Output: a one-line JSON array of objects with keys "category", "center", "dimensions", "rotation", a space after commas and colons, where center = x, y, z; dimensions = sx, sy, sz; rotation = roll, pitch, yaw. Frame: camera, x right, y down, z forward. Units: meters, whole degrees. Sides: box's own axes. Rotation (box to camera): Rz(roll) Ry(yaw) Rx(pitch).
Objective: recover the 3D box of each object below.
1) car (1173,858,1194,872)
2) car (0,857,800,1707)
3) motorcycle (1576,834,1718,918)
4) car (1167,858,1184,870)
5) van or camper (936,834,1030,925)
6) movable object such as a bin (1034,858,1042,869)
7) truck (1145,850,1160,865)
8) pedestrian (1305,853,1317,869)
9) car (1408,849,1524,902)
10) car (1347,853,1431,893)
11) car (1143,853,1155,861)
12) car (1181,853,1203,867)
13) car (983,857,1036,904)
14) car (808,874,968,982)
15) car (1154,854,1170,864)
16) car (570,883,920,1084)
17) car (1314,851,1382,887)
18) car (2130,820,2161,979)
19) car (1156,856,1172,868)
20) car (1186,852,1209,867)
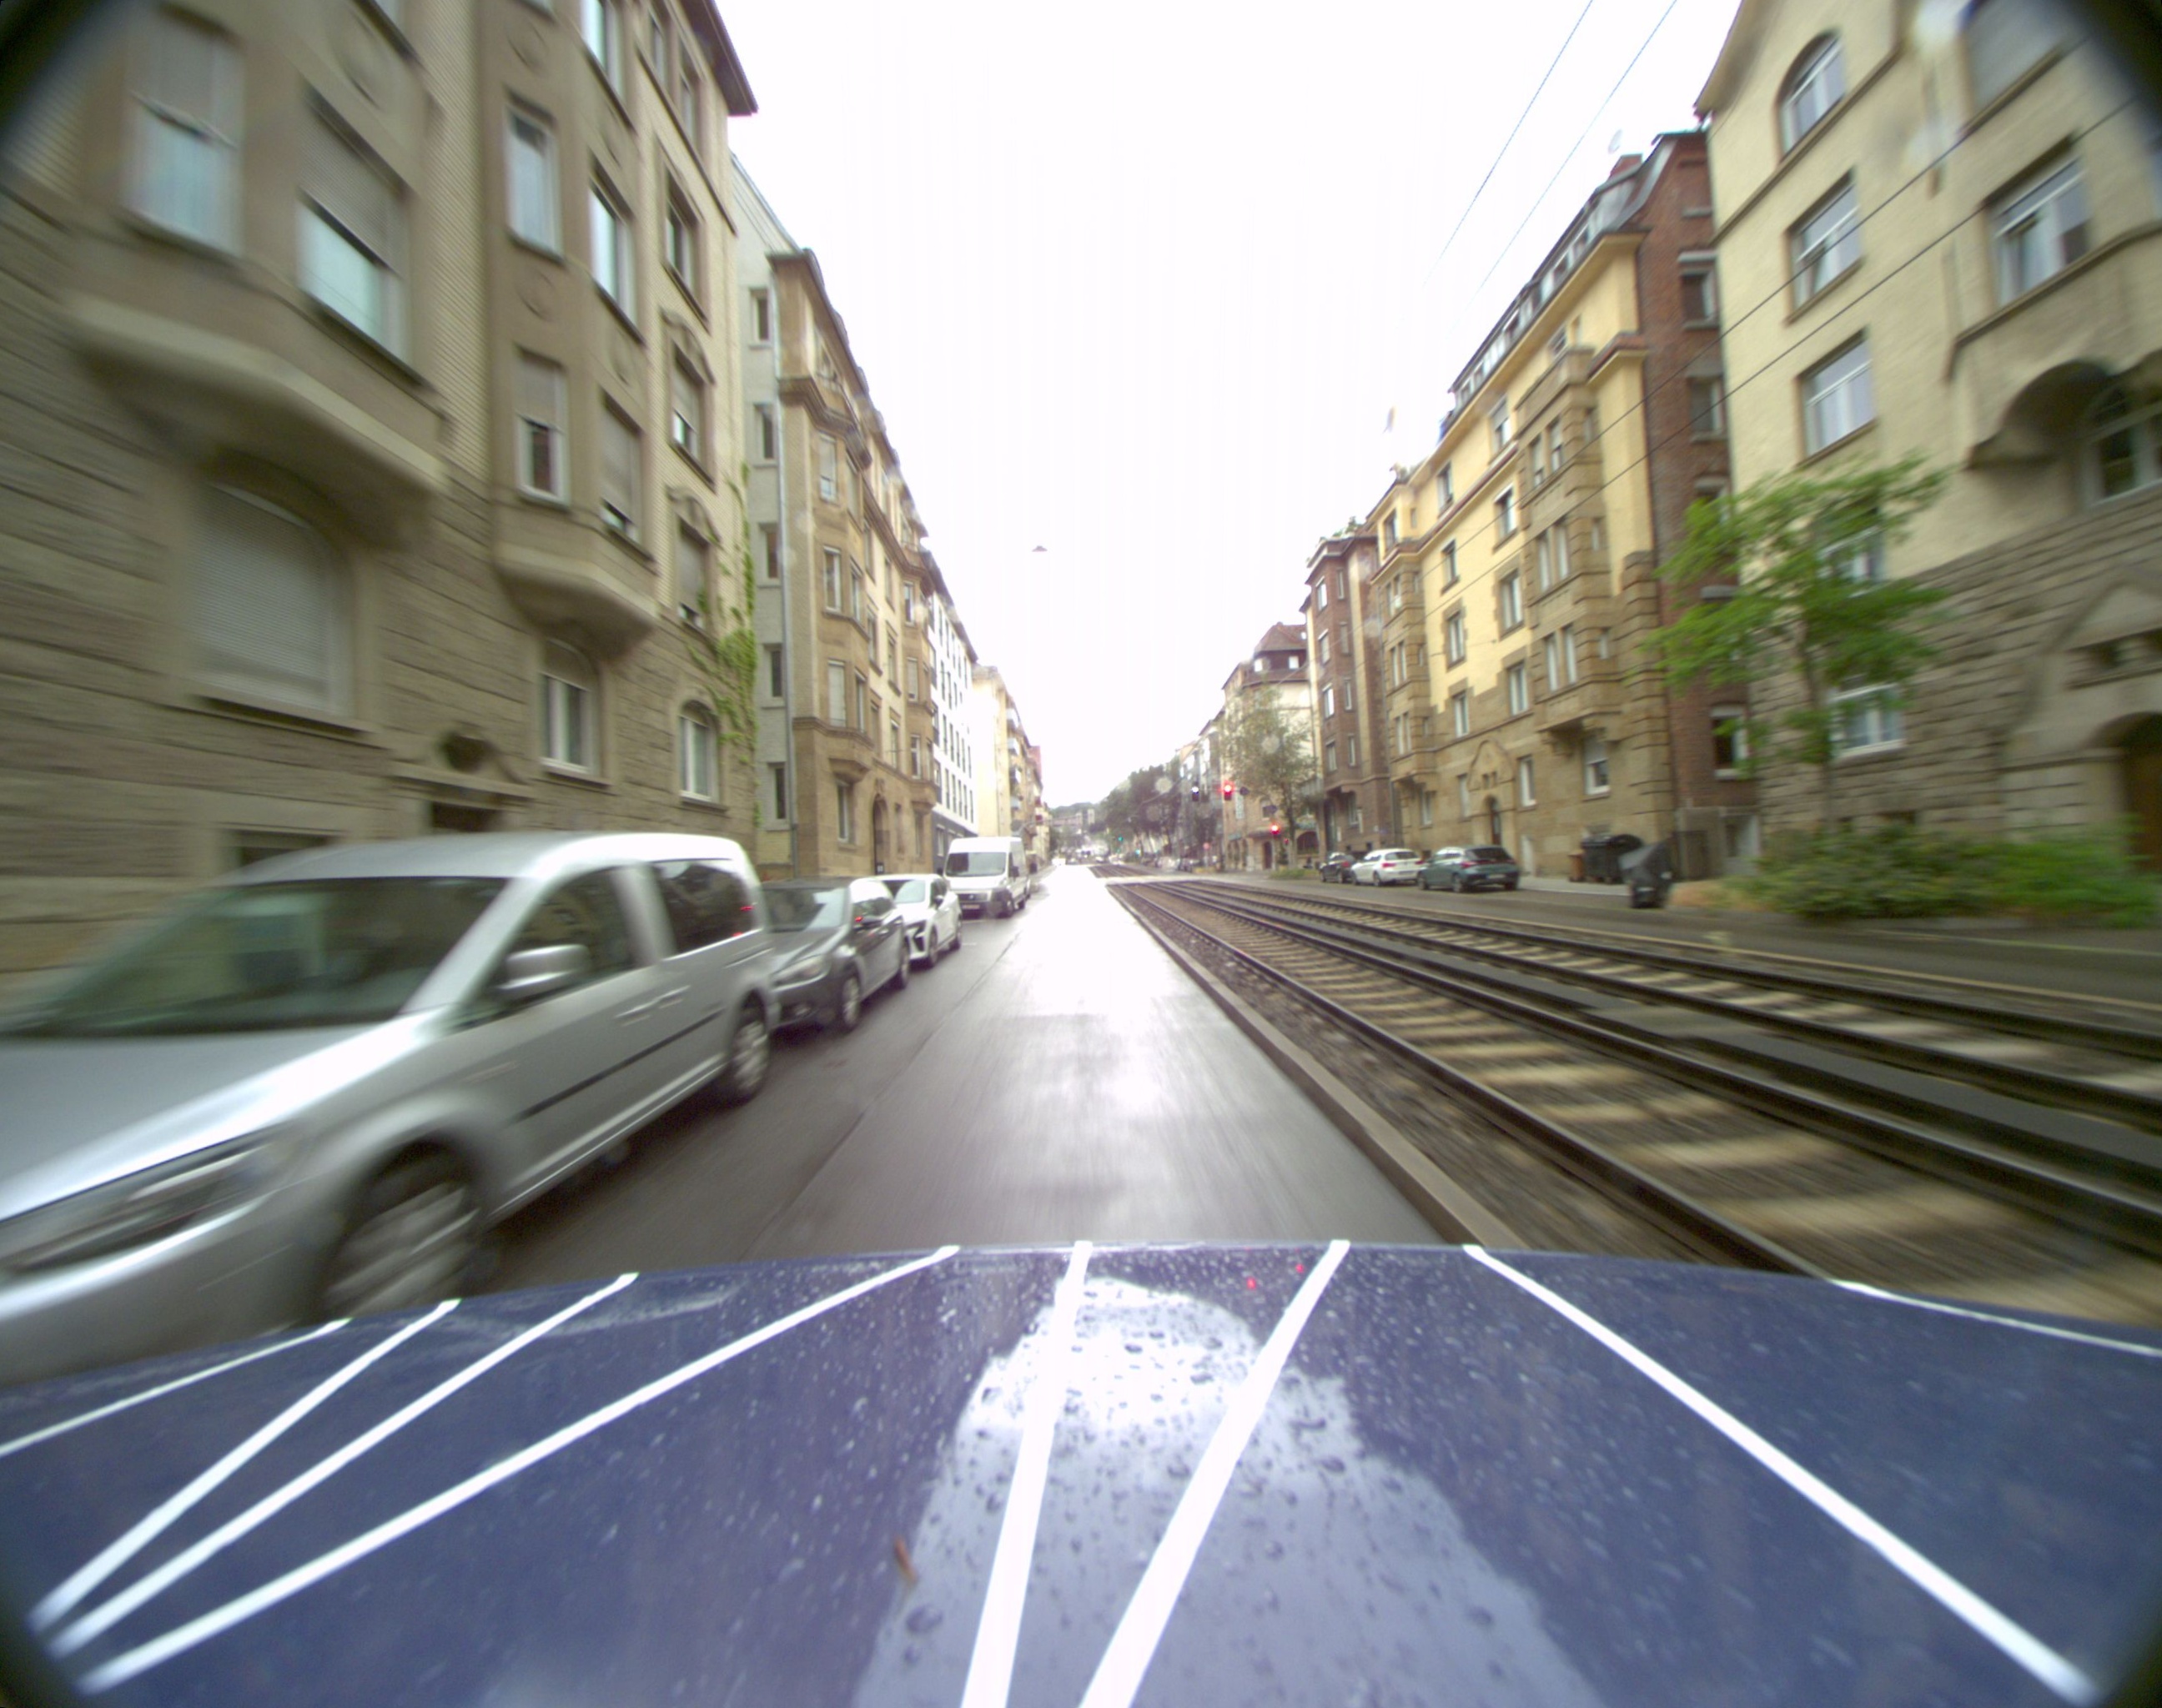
[{"category": "car", "center": [12.246, 1.326, 91.161], "dimensions": [1.805, 1.446, 4.430], "rotation": [-4, 0, -1]}, {"category": "car", "center": [-3.049, 0.936, 3.528], "dimensions": [1.779, 1.766, 4.361], "rotation": [-2, 0, 0]}, {"category": "motorcycle", "center": [12.183, 0.453, 16.386], "dimensions": [2.268, 1.632, 1.291], "rotation": [-3, 0, -17]}, {"category": "car", "center": [12.414, 1.337, 100.106], "dimensions": [1.706, 1.328, 4.130], "rotation": [-5, 0, 0]}, {"category": "van or camper", "center": [-2.942, 0.711, 24.318], "dimensions": [2.069, 2.454, 6.118], "rotation": [-2, 0, 0]}, {"category": "movable object such as a bin", "center": [-5.866, 1.266, 103.161], "dimensions": [1.011, 1.443, 1.393], "rotation": [0, 1, 0]}, {"category": "truck", "center": [12.458, 0.650, 132.896], "dimensions": [2.197, 2.332, 6.351], "rotation": [-2, 1, 2]}, {"category": "pedestrian", "center": [20.043, 0.598, 66.210], "dimensions": [0.819, 1.407, 0.721], "rotation": [-3, 0, 4]}, {"category": "car", "center": [12.231, 0.636, 24.464], "dimensions": [1.565, 1.429, 4.146], "rotation": [-4, 0, 1]}, {"category": "car", "center": [12.229, 0.705, 30.467], "dimensions": [1.671, 1.417, 4.263], "rotation": [-3, 0, 2]}, {"category": "car", "center": [12.768, 0.570, 143.013], "dimensions": [1.709, 1.451, 4.360], "rotation": [-4, 0, 0]}, {"category": "car", "center": [12.495, 0.701, 85.916], "dimensions": [1.812, 1.489, 3.525], "rotation": [-3, 0, -1]}, {"category": "car", "center": [-3.001, 1.087, 32.811], "dimensions": [1.773, 1.797, 4.482], "rotation": [-3, 0, 0]}, {"category": "car", "center": [-3.073, 1.119, 12.946], "dimensions": [1.680, 1.403, 4.000], "rotation": [-3, 0, -1]}, {"category": "car", "center": [12.586, 0.774, 118.718], "dimensions": [1.911, 1.432, 4.468], "rotation": [-2, 0, -1]}, {"category": "car", "center": [-3.178, 1.137, 8.235], "dimensions": [1.999, 1.433, 3.999], "rotation": [-2, 0, -1]}, {"category": "car", "center": [12.420, 0.658, 35.633], "dimensions": [1.769, 1.477, 4.000], "rotation": [-3, 0, 1]}, {"category": "car", "center": [11.901, 0.381, 5.709], "dimensions": [1.790, 1.580, 4.348], "rotation": [-3, 0, -8]}, {"category": "car", "center": [12.178, 1.161, 111.498], "dimensions": [1.781, 1.560, 4.158], "rotation": [-2, 0, -1]}, {"category": "car", "center": [12.509, 0.575, 81.638], "dimensions": [1.769, 1.543, 3.894], "rotation": [-3, 0, 0]}]
